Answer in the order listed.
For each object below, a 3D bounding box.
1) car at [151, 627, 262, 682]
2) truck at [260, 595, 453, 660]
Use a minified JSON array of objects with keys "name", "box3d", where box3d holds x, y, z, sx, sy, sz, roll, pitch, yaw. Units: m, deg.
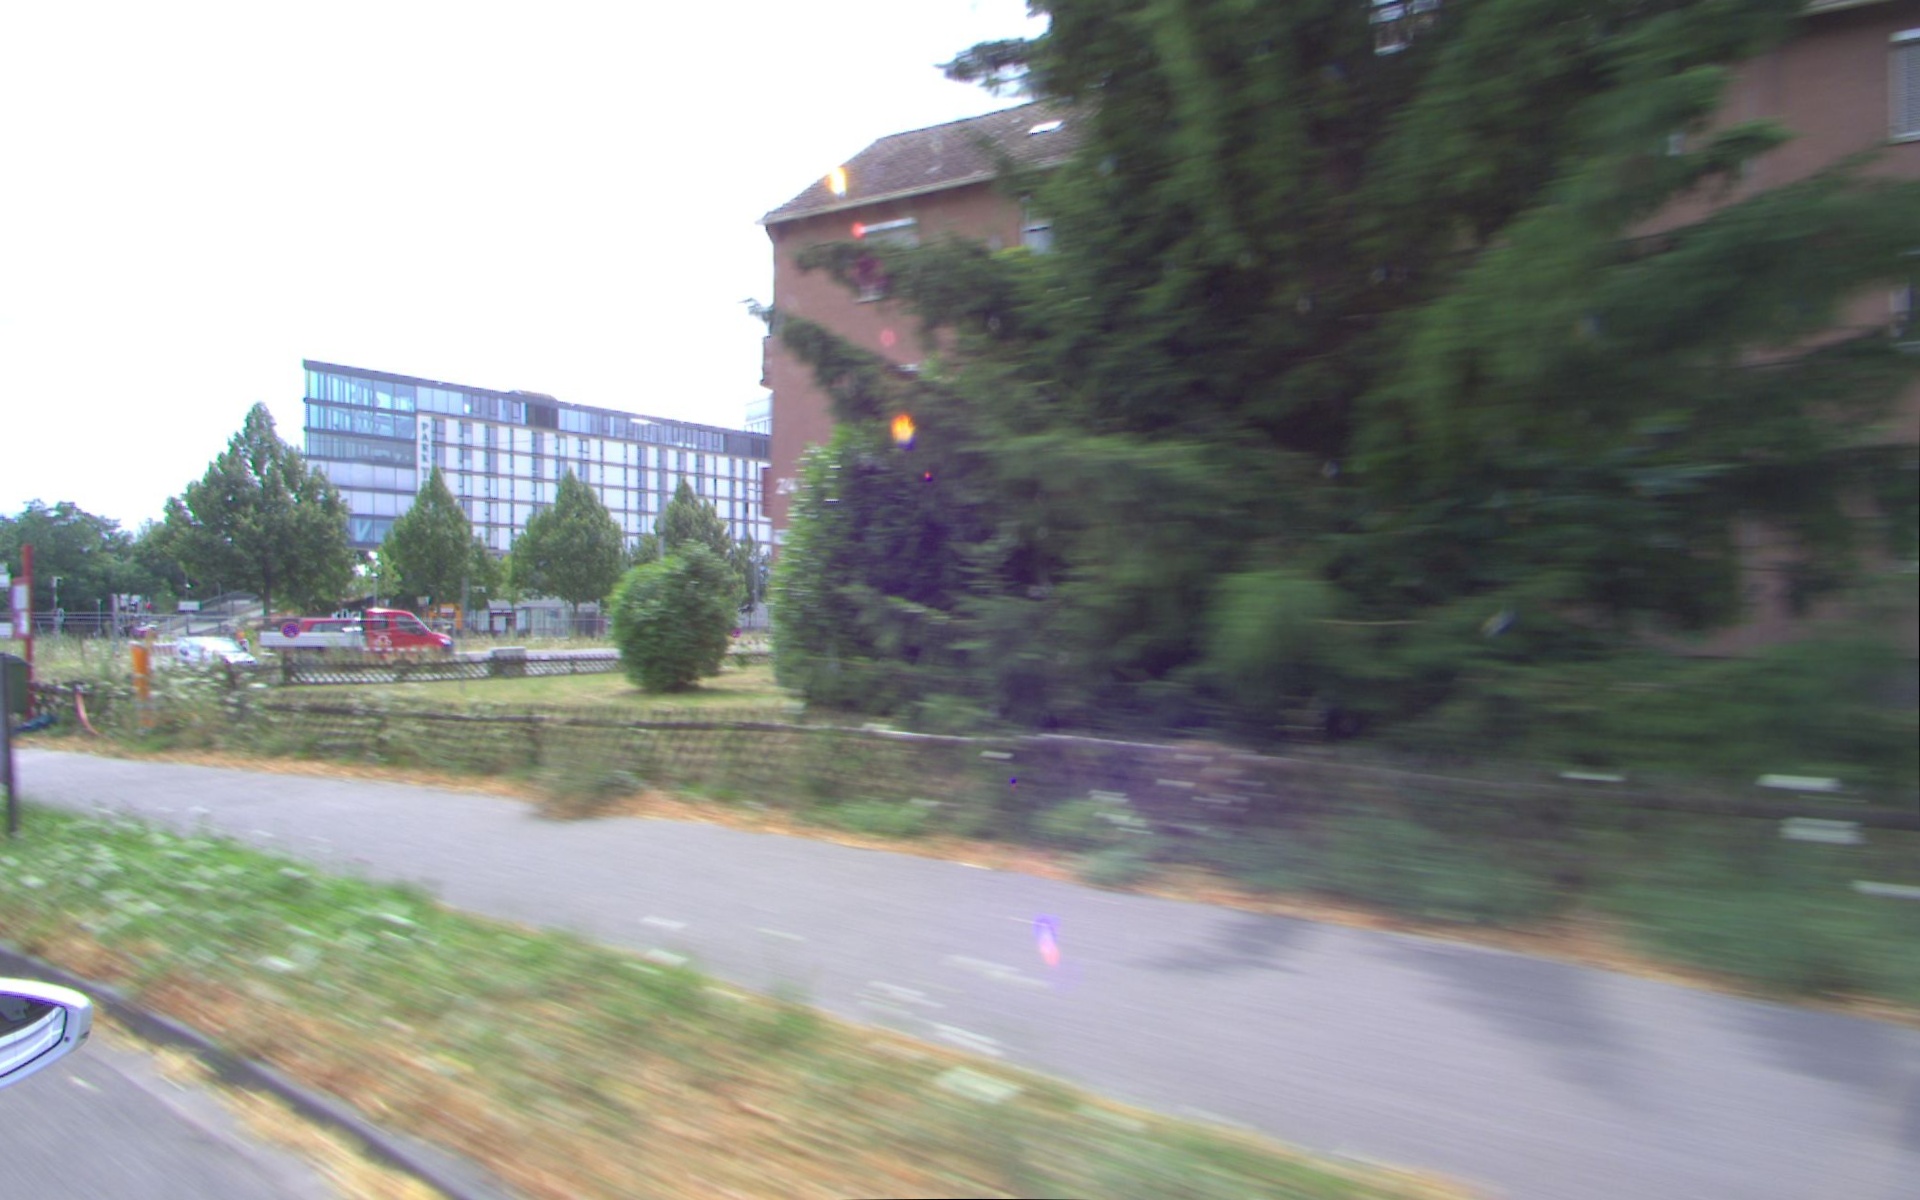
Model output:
[{"name":"car","box3d":[-24.294,1.704,32.238,4.281,1.517,1.843,0,1,38]},{"name":"truck","box3d":[-24.638,1.124,40.997,6.600,2.457,2.516,1,-1,-36]}]
